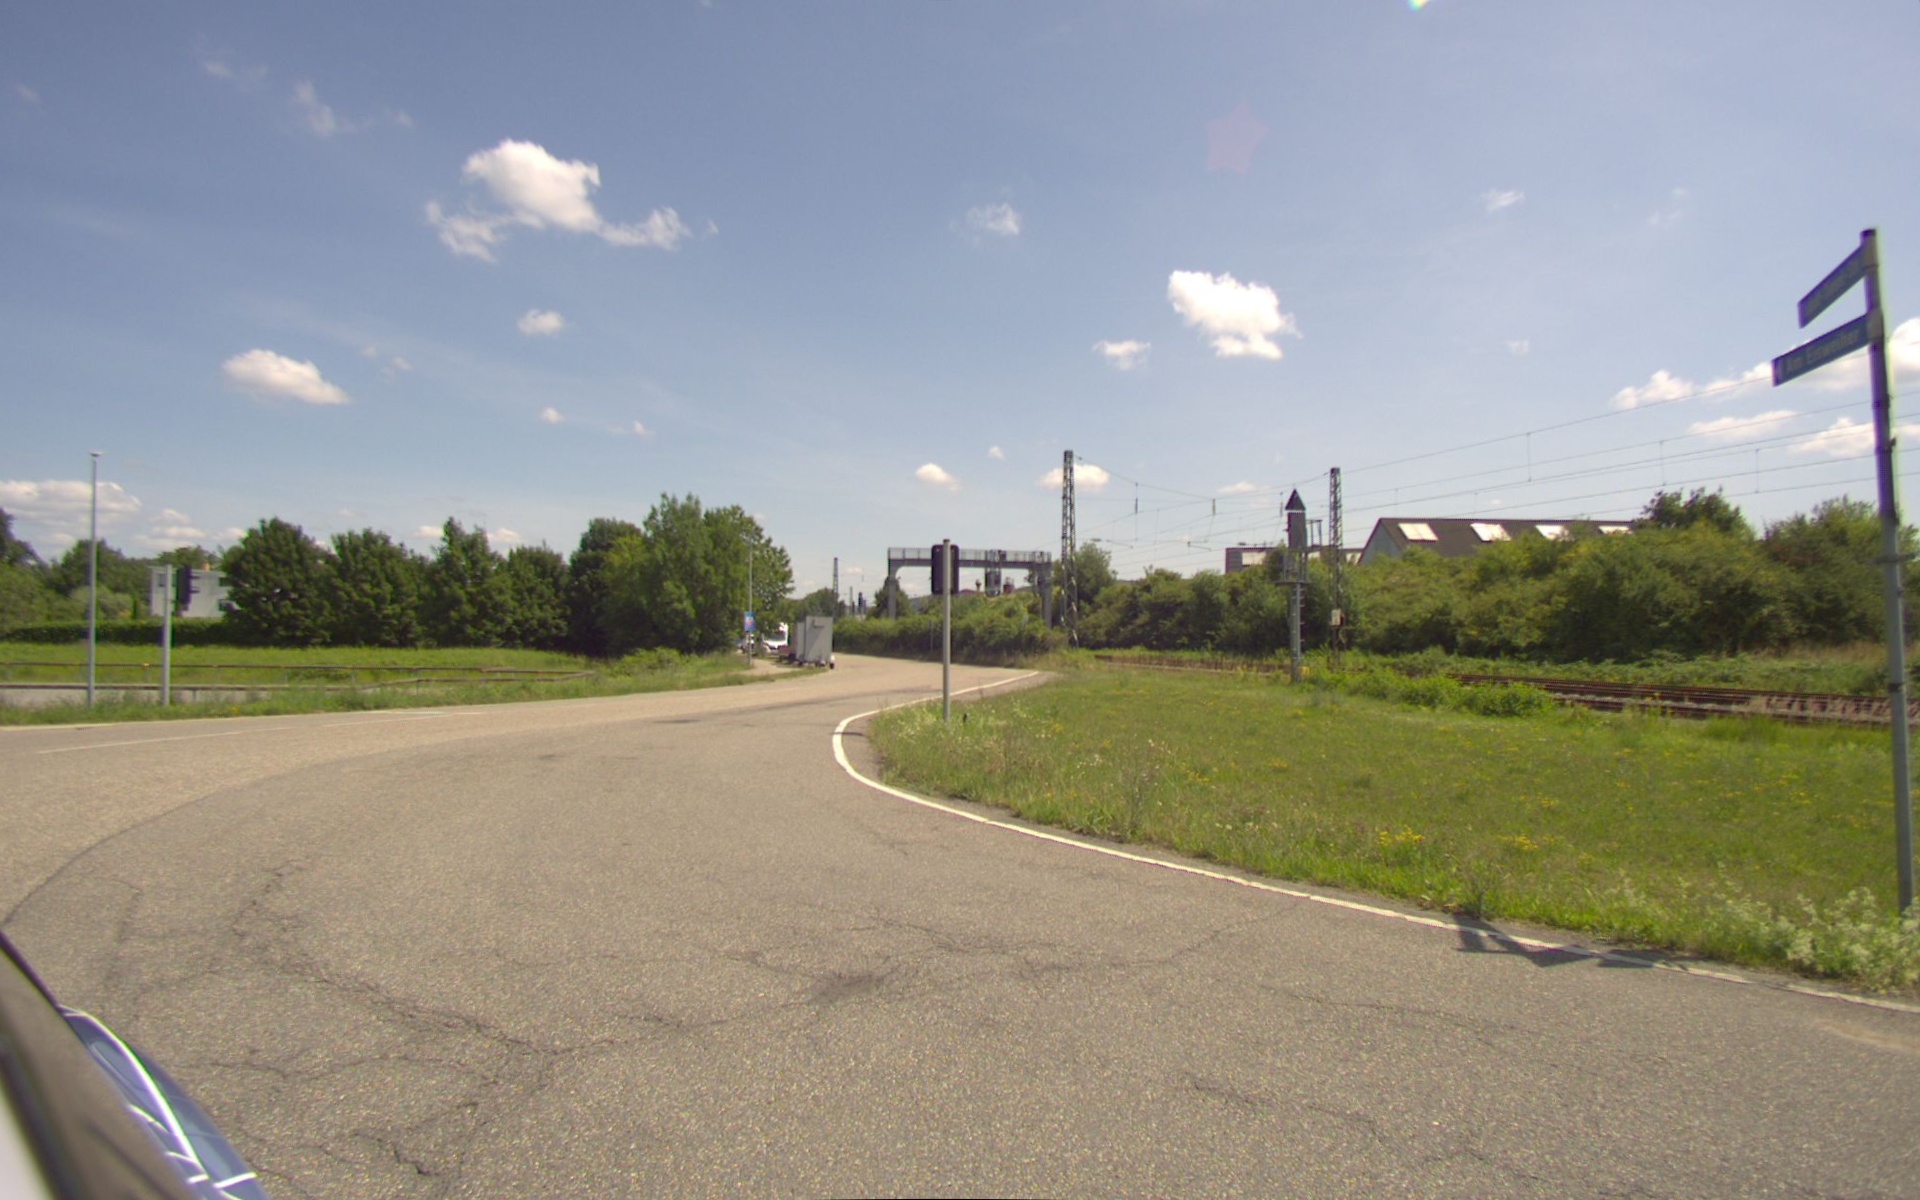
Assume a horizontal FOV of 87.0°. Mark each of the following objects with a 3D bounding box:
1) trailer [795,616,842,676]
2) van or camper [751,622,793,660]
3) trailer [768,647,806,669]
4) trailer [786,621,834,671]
[{"bbox_3d":[-6.902,2.207,48.976,1.908,2.664,5.194,3,-3,-10],"label":"trailer"},{"bbox_3d":[-14.897,3.225,79.840,2.405,2.848,7.645,2,-3,-16],"label":"van or camper"},{"bbox_3d":[-10.587,3.489,61.619,1.978,1.131,4.500,3,-2,-13],"label":"trailer"},{"bbox_3d":[-8.279,2.505,55.483,1.892,2.527,4.754,3,-3,-15],"label":"trailer"}]
